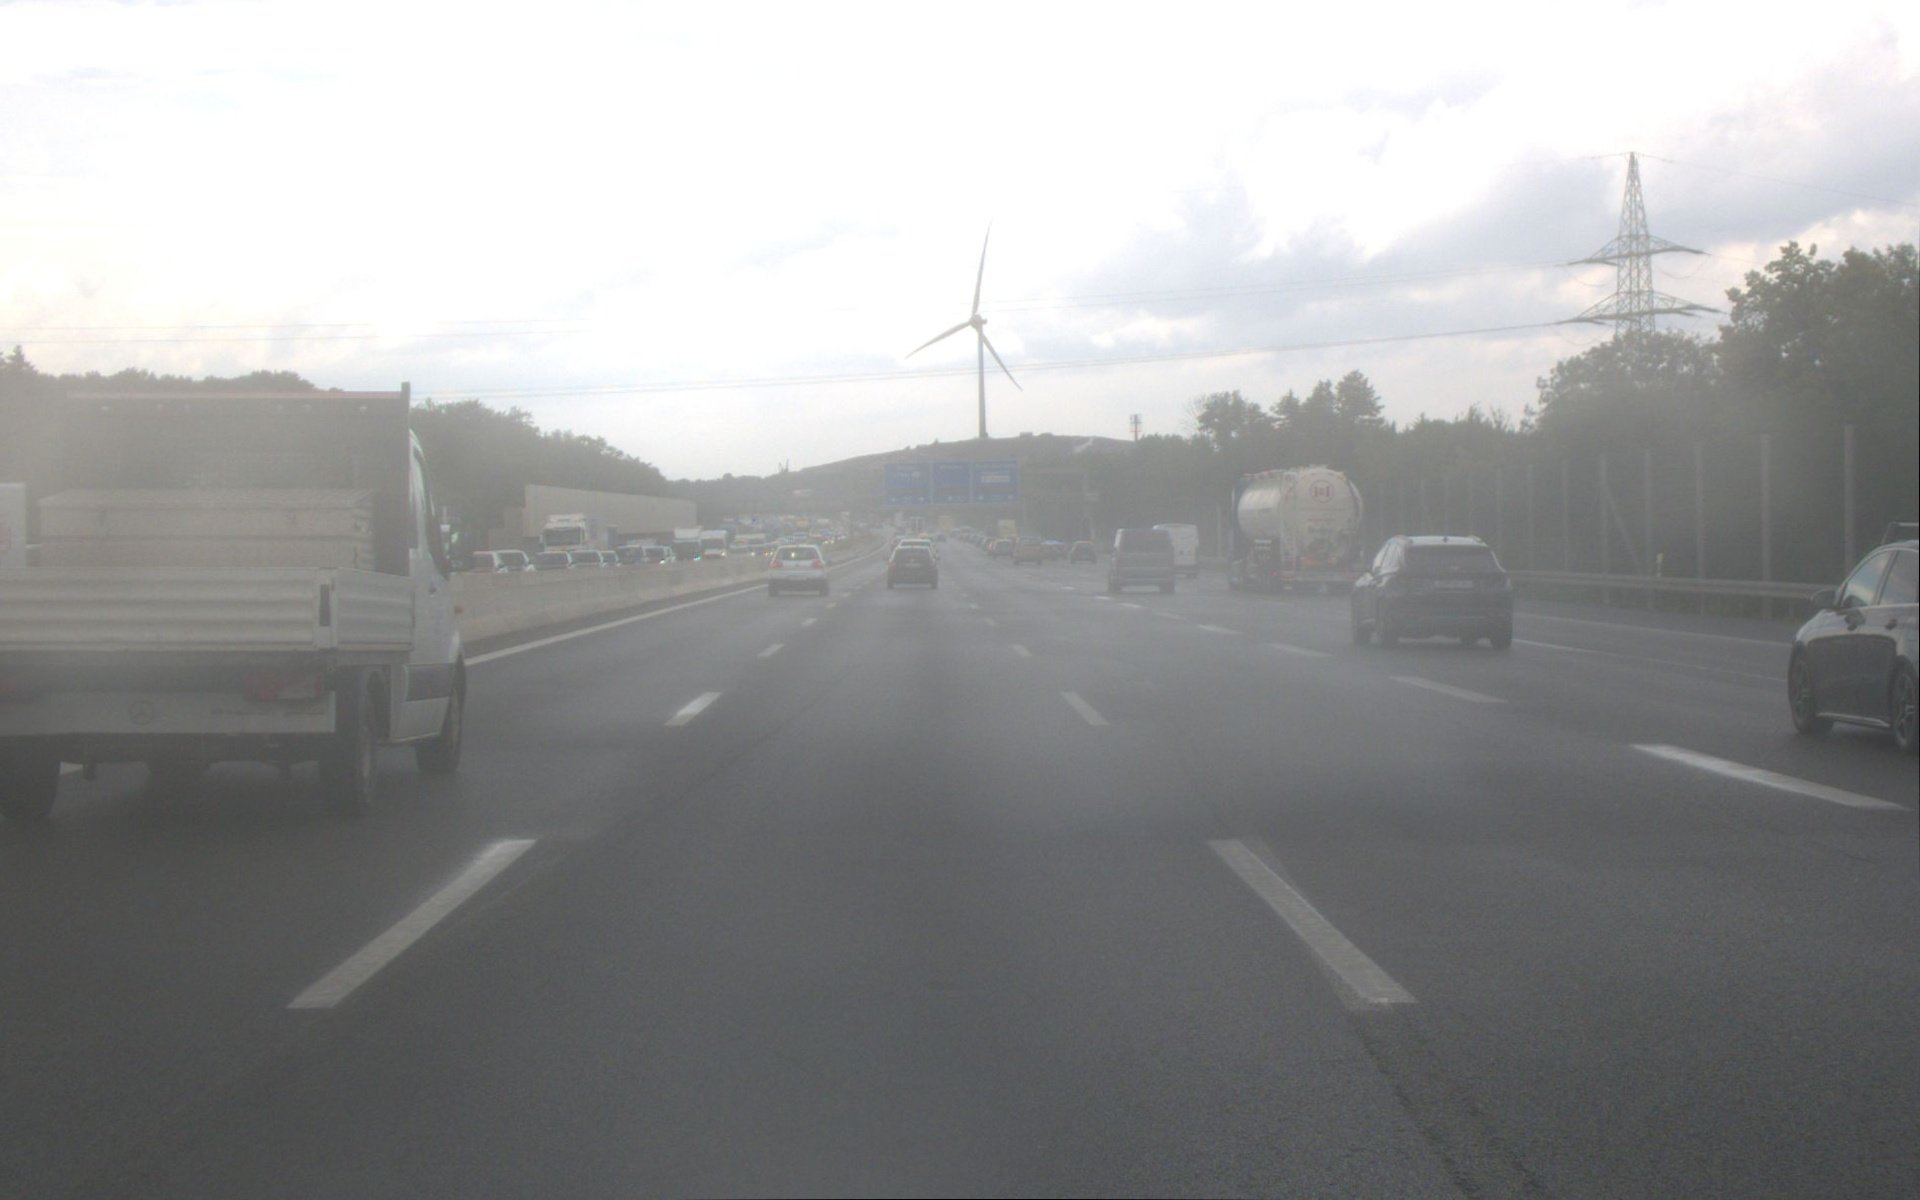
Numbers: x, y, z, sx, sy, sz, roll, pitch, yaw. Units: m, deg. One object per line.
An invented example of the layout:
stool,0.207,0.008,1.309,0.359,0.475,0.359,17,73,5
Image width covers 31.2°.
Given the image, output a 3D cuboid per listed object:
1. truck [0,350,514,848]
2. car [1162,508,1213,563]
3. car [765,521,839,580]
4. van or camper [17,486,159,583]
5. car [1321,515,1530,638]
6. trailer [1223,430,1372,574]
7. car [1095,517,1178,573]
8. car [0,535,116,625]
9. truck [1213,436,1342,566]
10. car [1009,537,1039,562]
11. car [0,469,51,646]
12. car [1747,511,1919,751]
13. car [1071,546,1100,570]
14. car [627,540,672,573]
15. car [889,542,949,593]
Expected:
truck,-4.242,-0.109,20.375,2.353,2.400,7.359,1,2,-1
car,10.422,-2.990,157.672,2.045,2.489,4.001,0,2,-1
car,-4.650,-1.488,101.760,2.045,1.693,4.001,0,2,-1
van or camper,-20.282,-1.544,80.141,2.095,2.178,4.972,0,1,-1
car,6.733,-0.375,50.274,2.045,1.693,5.008,-1,1,-4
trailer,10.333,-3.011,106.550,3.332,4.161,11.839,0,1,0
car,5.468,-1.737,106.849,2.097,1.693,4.001,0,2,-4
car,-19.749,-0.476,73.971,1.858,1.818,5.665,0,1,-1
truck,10.304,-3.205,112.468,3.333,4.066,8.272,0,1,0
car,4.454,-3.566,240.260,2.045,1.693,4.000,0,2,0
car,-19.072,-0.796,63.727,2.497,3.288,7.627,0,1,-1
car,7.427,0.173,25.465,2.105,1.600,5.065,0,1,1
car,9.286,-3.141,254.579,1.993,1.744,4.497,0,1,-1
car,-15.971,-2.257,176.999,1.894,1.618,4.845,0,1,-1
car,-1.427,-1.138,119.076,2.045,1.693,4.001,0,2,-1
